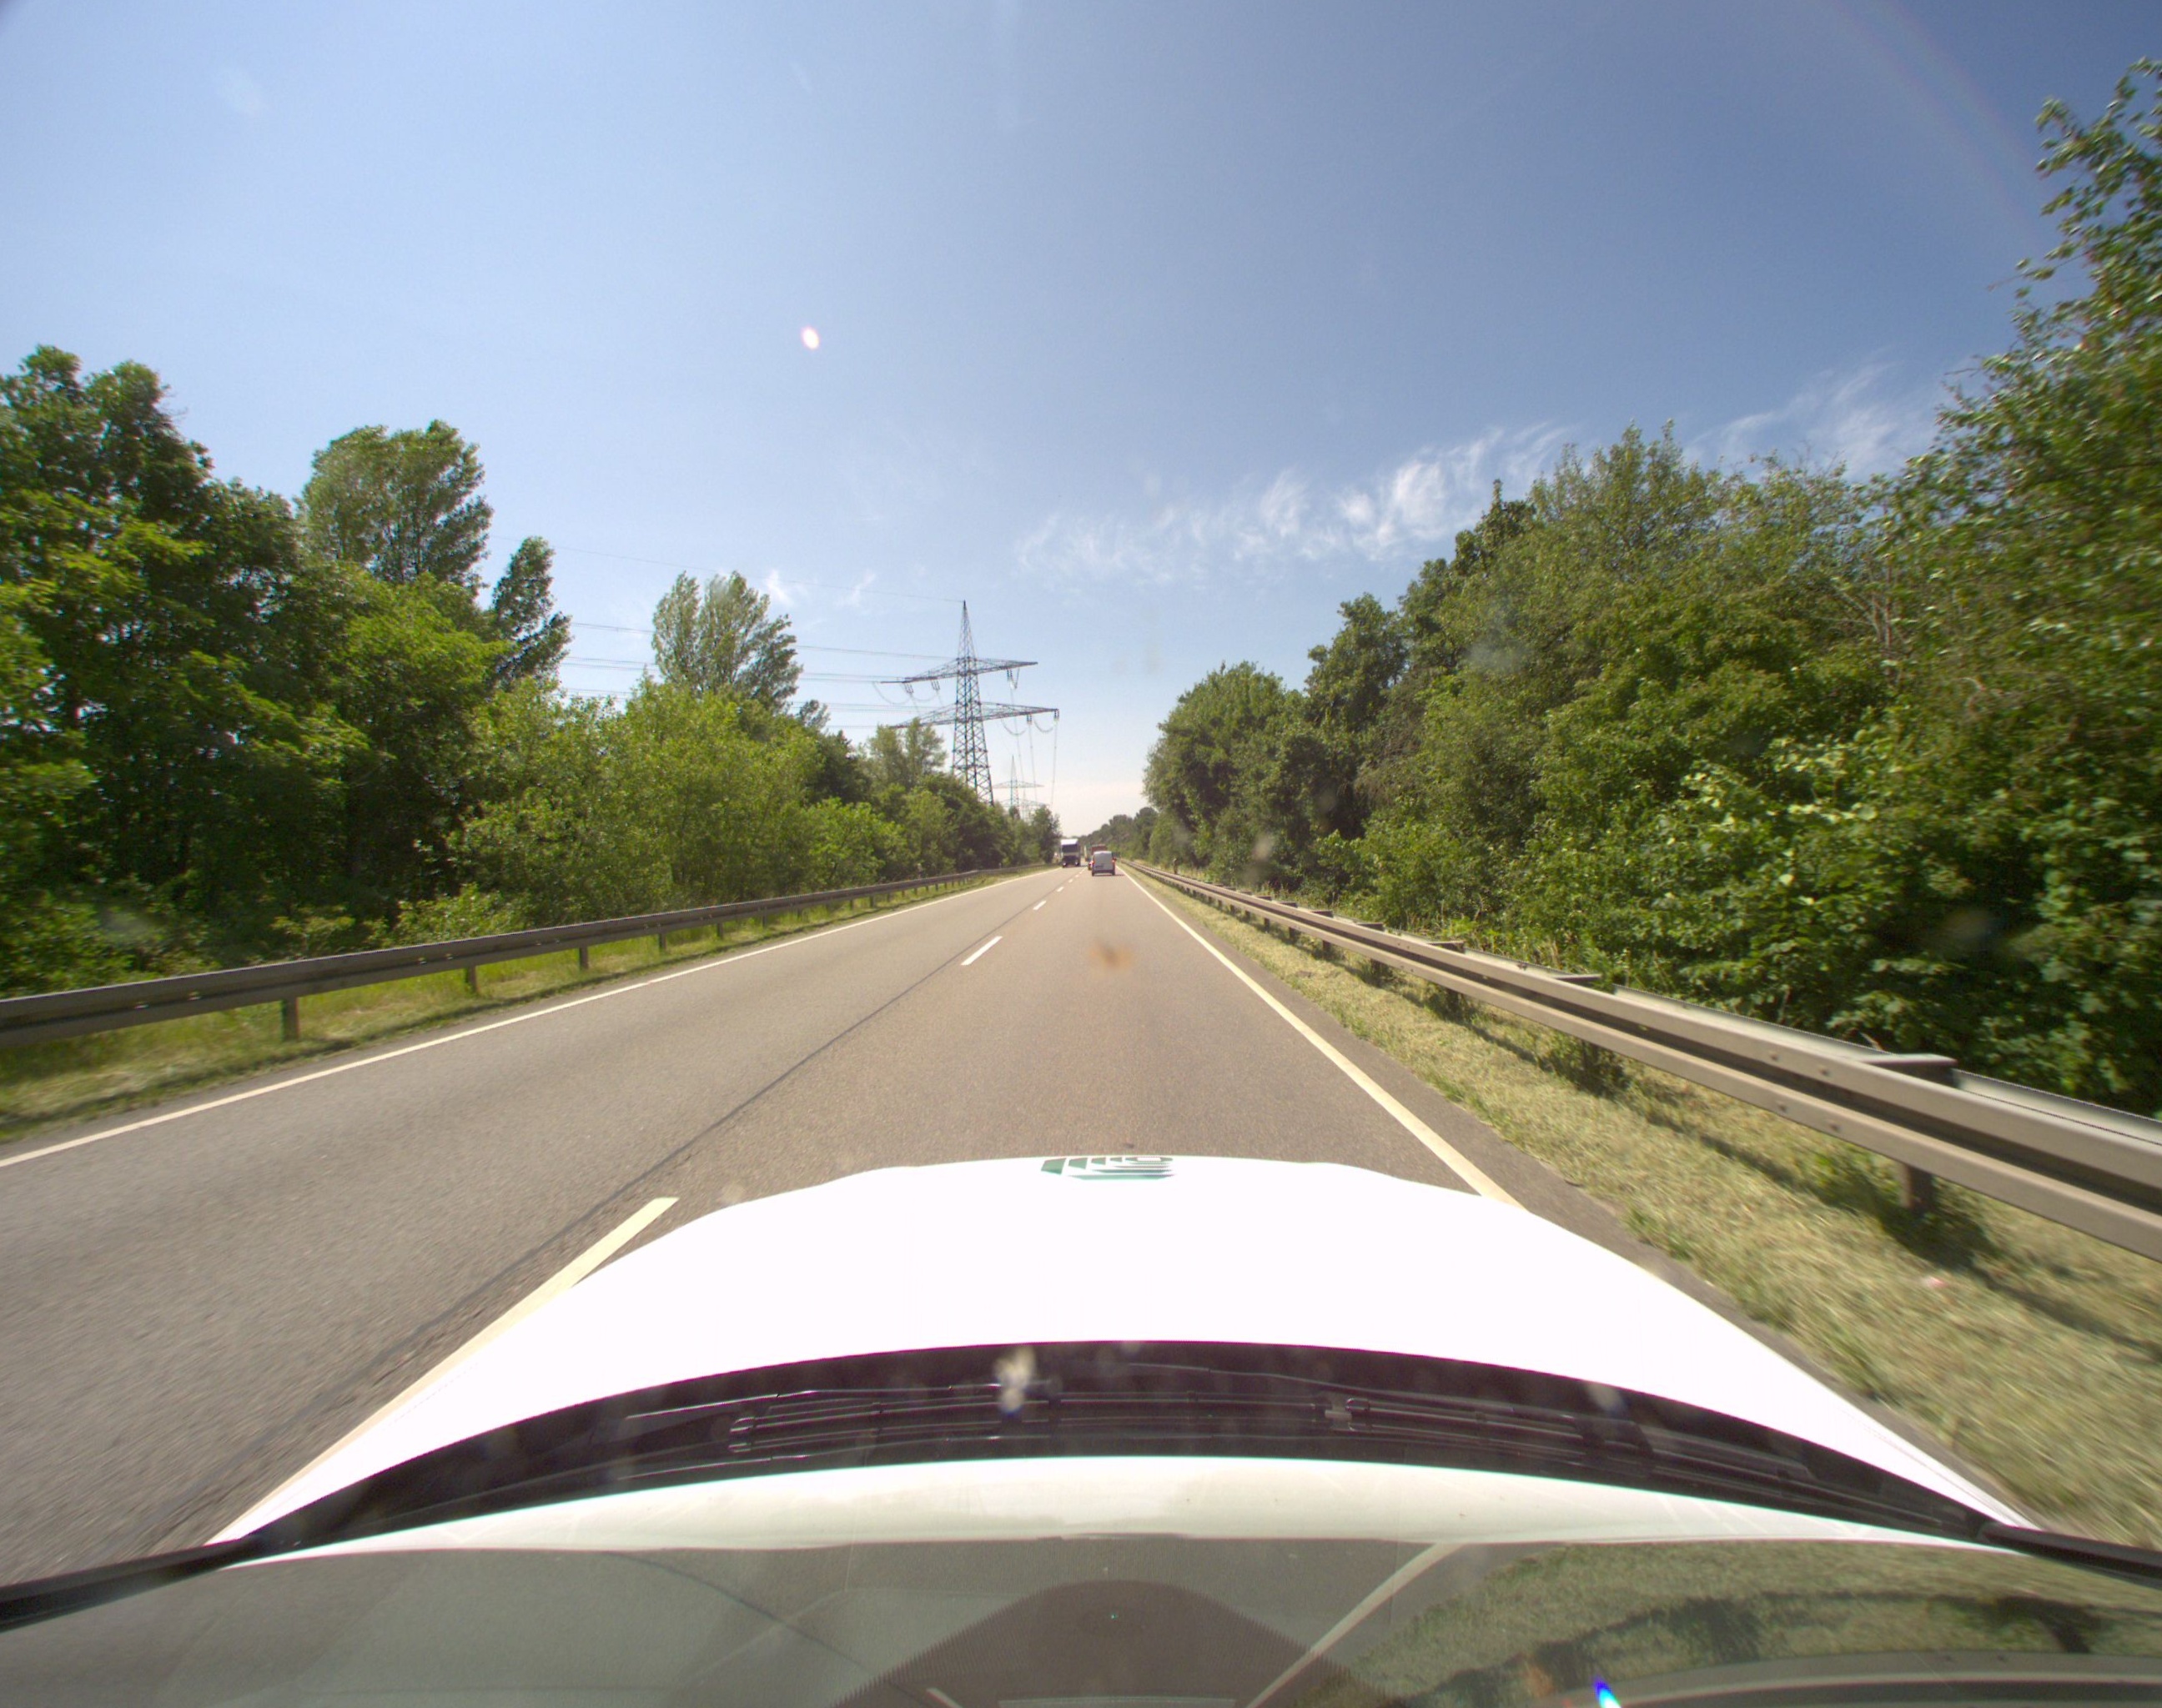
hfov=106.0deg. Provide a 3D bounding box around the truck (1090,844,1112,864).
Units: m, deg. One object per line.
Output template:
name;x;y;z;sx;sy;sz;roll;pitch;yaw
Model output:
truck;3.330;-0.132;141.988;3.287;3.171;14.399;-1;1;-1

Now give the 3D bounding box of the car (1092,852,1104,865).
car;2.727;0.686;130.442;1.758;2.013;3.998;-1;0;-1

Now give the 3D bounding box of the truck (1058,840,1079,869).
truck;-1.728;0.028;116.814;2.753;3.999;5.908;-1;0;1

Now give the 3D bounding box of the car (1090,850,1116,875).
car;1.640;0.629;60.722;1.868;1.741;4.001;-1;1;1

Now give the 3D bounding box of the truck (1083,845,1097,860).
truck;2.305;-0.507;218.975;3.392;3.854;16.812;-1;1;-1
